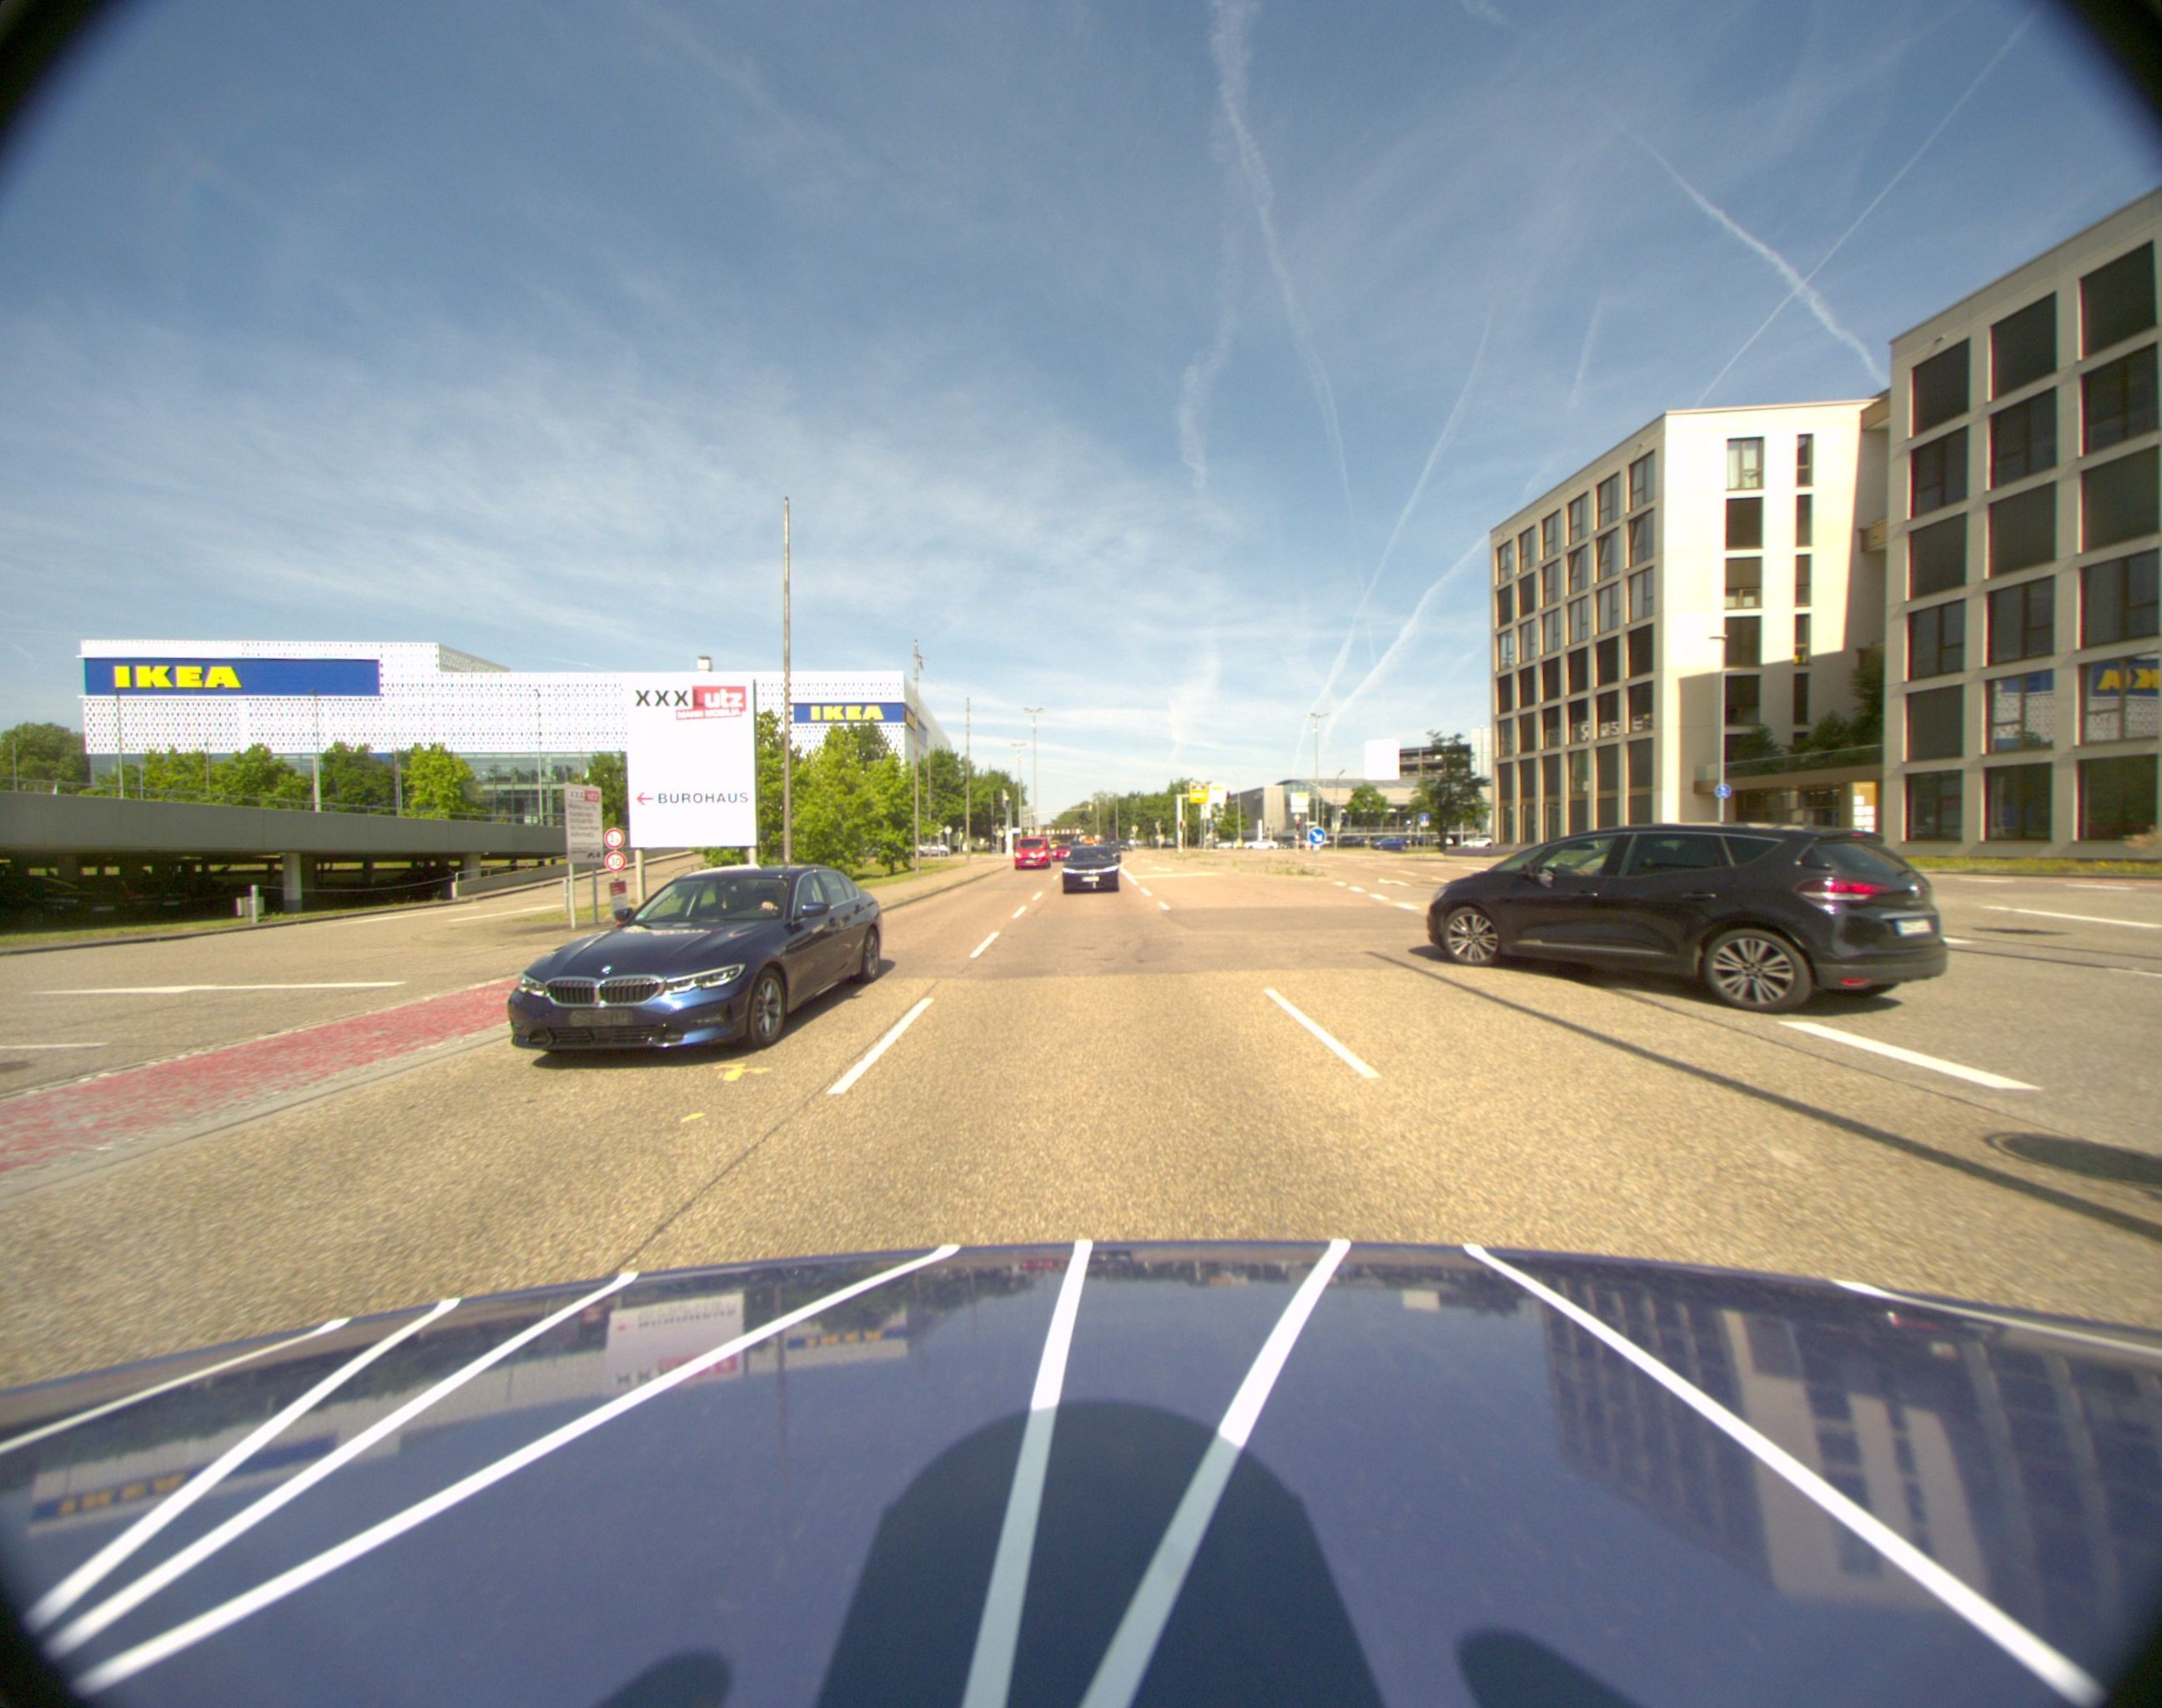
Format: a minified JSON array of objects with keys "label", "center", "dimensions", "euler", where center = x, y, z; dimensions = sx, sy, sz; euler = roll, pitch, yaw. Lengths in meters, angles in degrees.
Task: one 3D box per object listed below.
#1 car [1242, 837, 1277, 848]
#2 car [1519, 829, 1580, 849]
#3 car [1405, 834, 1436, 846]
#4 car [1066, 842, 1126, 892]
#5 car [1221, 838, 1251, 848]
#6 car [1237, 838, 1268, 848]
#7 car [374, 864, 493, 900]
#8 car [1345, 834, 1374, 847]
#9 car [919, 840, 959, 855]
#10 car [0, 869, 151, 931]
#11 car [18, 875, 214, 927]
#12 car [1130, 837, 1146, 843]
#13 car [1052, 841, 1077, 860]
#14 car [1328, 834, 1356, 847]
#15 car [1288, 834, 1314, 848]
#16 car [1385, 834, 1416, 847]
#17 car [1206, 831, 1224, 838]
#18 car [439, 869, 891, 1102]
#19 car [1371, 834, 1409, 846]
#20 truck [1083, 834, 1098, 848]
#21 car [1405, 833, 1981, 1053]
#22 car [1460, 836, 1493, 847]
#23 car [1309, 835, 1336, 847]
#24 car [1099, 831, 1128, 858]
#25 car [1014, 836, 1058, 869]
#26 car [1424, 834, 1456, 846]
[{"label":"car","center":[24.366,-1.606,103.703],"dimensions":[4.385,1.424,1.899],"euler":[-1,1,-2]},{"label":"car","center":[45.596,-1.417,73.960],"dimensions":[4.800,1.811,1.902],"euler":[0,1,42]},{"label":"car","center":[45.118,-1.829,101.010],"dimensions":[1.793,1.433,4.401],"euler":[-1,-1,-5]},{"label":"car","center":[0.490,0.373,25.721],"dimensions":[1.847,1.531,3.999],"euler":[-2,1,1]},{"label":"car","center":[23.289,-1.639,114.138],"dimensions":[4.084,1.362,1.877],"euler":[2,1,-5]},{"label":"car","center":[23.931,-1.582,106.170],"dimensions":[3.846,1.394,1.763],"euler":[-1,1,-6]},{"label":"car","center":[-32.255,1.392,37.965],"dimensions":[4.124,1.514,1.798],"euler":[-3,1,-8]},{"label":"car","center":[36.913,-1.743,100.790],"dimensions":[1.793,1.496,4.776],"euler":[-1,-1,-5]},{"label":"car","center":[-15.222,-0.736,81.315],"dimensions":[3.894,1.550,1.808],"euler":[-1,2,0]},{"label":"car","center":[-30.439,1.352,22.165],"dimensions":[4.163,1.618,1.751],"euler":[-2,1,-3]},{"label":"car","center":[-31.197,1.509,24.661],"dimensions":[3.883,1.379,1.687],"euler":[-2,1,-4]},{"label":"car","center":[16.234,-3.904,216.645],"dimensions":[4.198,1.490,1.689],"euler":[2,1,-3]},{"label":"car","center":[-1.356,-0.321,62.615],"dimensions":[1.692,1.414,3.916],"euler":[-2,1,3]},{"label":"car","center":[34.404,-1.760,100.186],"dimensions":[1.793,1.535,4.375],"euler":[-1,-1,-5]},{"label":"car","center":[28.904,-1.713,99.850],"dimensions":[1.819,1.604,4.595],"euler":[-1,-1,-4]},{"label":"car","center":[42.378,-1.779,100.891],"dimensions":[1.793,1.433,4.631],"euler":[-1,-1,-5]},{"label":"car","center":[34.490,-4.995,195.498],"dimensions":[4.198,1.722,1.689],"euler":[2,1,-3]},{"label":"car","center":[-3.352,0.927,7.360],"dimensions":[1.800,1.421,4.538],"euler":[-1,0,1]},{"label":"car","center":[36.155,-1.637,89.057],"dimensions":[3.800,1.282,1.660],"euler":[-1,2,5]},{"label":"truck","center":[2.533,-3.483,202.362],"dimensions":[2.755,3.659,7.572],"euler":[-1,1,-8]},{"label":"car","center":[5.798,0.630,7.926],"dimensions":[1.924,1.597,4.262],"euler":[-2,1,-24]},{"label":"car","center":[55.935,-1.758,107.455],"dimensions":[4.017,1.434,1.800],"euler":[0,1,25]},{"label":"car","center":[31.617,-1.689,99.606],"dimensions":[1.793,1.433,4.199],"euler":[-1,-1,-5]},{"label":"car","center":[2.444,-0.684,56.635],"dimensions":[1.965,1.896,4.662],"euler":[-1,1,5]},{"label":"car","center":[-2.752,-0.135,47.226],"dimensions":[2.013,1.896,4.811],"euler":[-1,1,5]},{"label":"car","center":[47.824,-1.823,101.303],"dimensions":[1.793,1.433,4.557],"euler":[-1,-1,-5]}]
